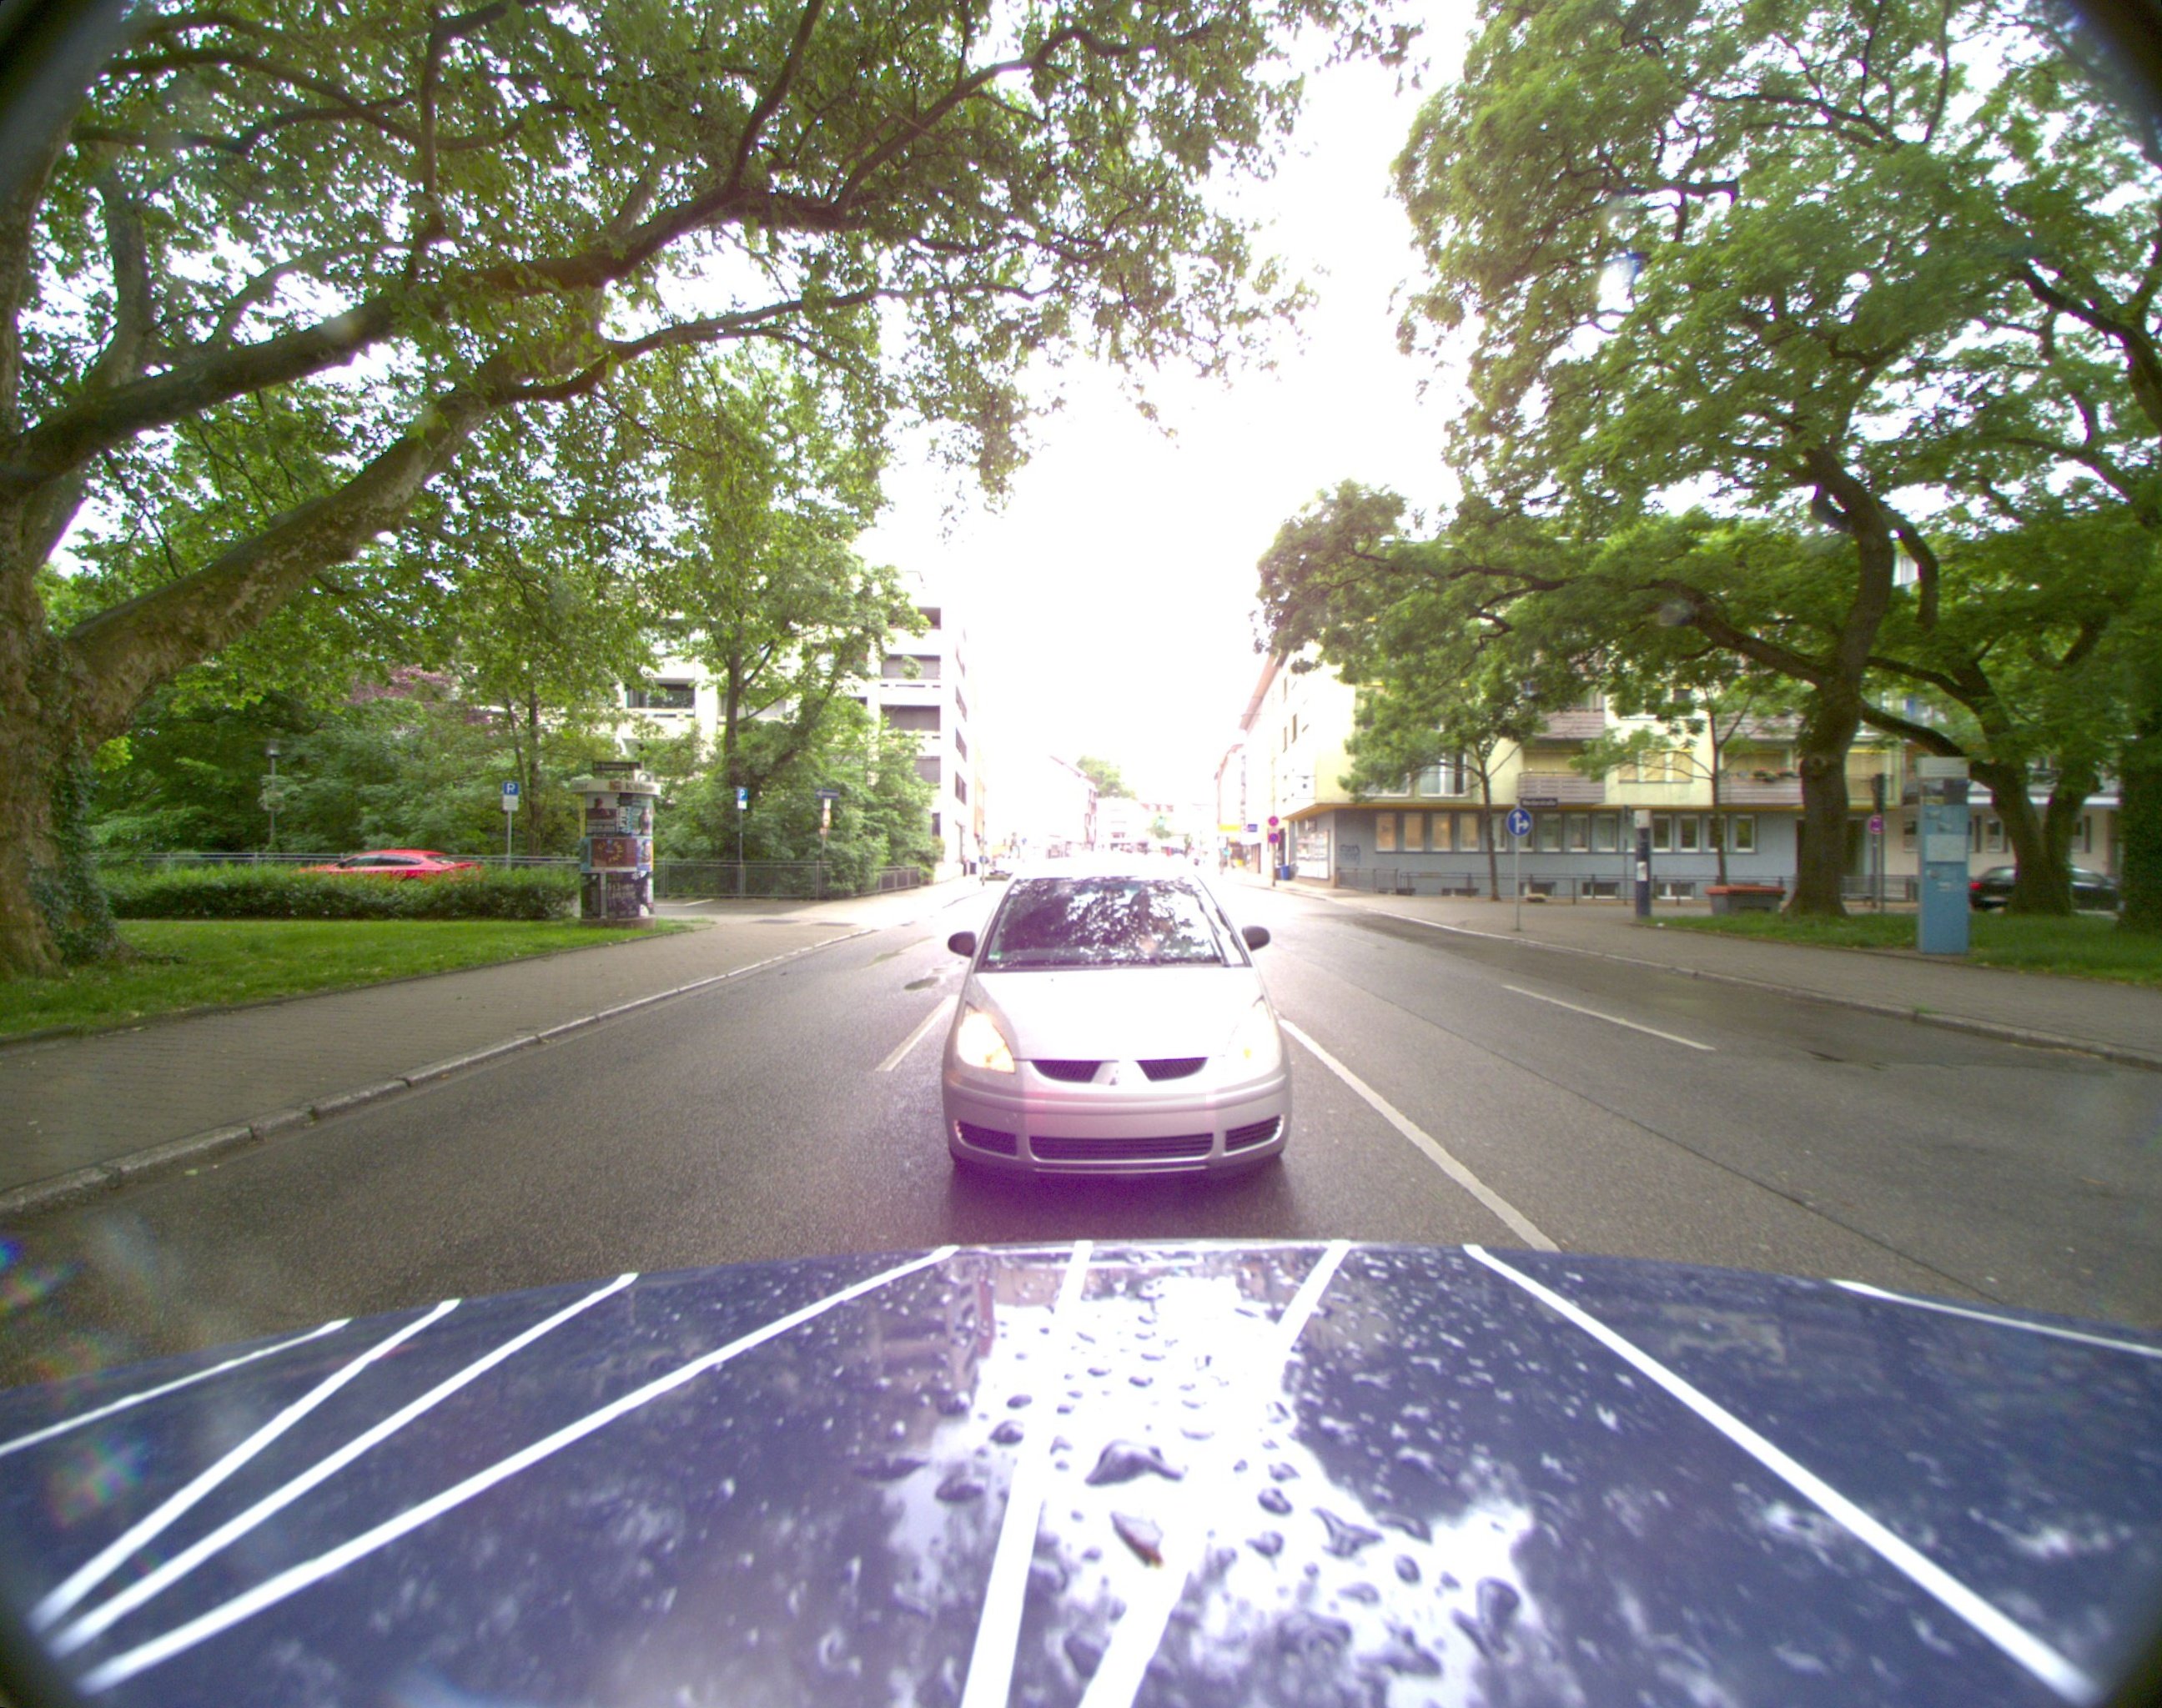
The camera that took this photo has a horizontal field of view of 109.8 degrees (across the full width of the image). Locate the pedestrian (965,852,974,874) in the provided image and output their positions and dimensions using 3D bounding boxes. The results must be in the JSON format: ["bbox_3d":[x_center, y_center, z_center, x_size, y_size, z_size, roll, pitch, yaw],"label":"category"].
[{"bbox_3d":[-8.043,0.648,54.672,0.480,1.521,0.481,-2,1,1],"label":"pedestrian"}]

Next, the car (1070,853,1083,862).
[{"bbox_3d":[-0.678,0.515,113.425,1.802,1.433,3.896,1,0,0],"label":"car"}]

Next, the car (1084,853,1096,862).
[{"bbox_3d":[1.402,0.545,118.341,1.802,1.433,3.897,1,0,1],"label":"car"}]

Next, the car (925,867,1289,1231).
[{"bbox_3d":[0.141,0.897,4.983,1.576,1.514,3.241,-1,0,1],"label":"car"}]

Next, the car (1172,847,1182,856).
[{"bbox_3d":[20.505,-0.589,162.625,1.998,1.841,4.001,1,0,4],"label":"car"}]

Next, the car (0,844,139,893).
[{"bbox_3d":[-29.089,0.384,21.256,3.468,1.271,1.448,1,1,-5],"label":"car"}]

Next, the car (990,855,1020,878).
[{"bbox_3d":[-5.314,0.859,53.513,1.681,1.424,3.681,3,0,1],"label":"car"}]

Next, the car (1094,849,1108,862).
[{"bbox_3d":[2.869,0.180,111.052,1.935,1.817,3.999,-2,1,0],"label":"car"}]

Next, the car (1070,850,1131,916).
[{"bbox_3d":[0.510,0.766,21.779,1.584,1.705,3.649,1,0,0],"label":"car"}]

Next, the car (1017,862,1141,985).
[{"bbox_3d":[0.054,0.921,11.805,1.590,1.540,3.771,1,0,2],"label":"car"}]

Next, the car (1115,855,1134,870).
[{"bbox_3d":[4.316,0.831,76.204,1.701,1.433,3.897,1,0,1],"label":"car"}]

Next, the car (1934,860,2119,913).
[{"bbox_3d":[28.844,0.965,23.261,3.564,1.480,1.572,1,1,2],"label":"car"}]

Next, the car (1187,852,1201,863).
[{"bbox_3d":[18.049,0.599,121.403,1.889,1.707,4.001,1,0,4],"label":"car"}]

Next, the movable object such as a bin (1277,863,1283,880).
[{"bbox_3d":[12.665,1.113,48.335,0.338,1.023,0.353,1,1,8],"label":"movable object such as a bin"}]

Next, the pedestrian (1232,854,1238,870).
[{"bbox_3d":[17.466,0.939,86.249,0.594,1.833,0.565,1,1,8],"label":"pedestrian"}]

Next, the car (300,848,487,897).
[{"bbox_3d":[-19.400,0.512,21.565,3.790,1.271,1.576,1,1,-3],"label":"car"}]

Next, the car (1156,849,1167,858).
[{"bbox_3d":[15.891,-0.100,150.491,1.998,1.631,4.001,1,0,4],"label":"car"}]

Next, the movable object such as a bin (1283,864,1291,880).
[{"bbox_3d":[13.079,1.145,48.259,0.415,1.023,0.353,1,1,8],"label":"movable object such as a bin"}]

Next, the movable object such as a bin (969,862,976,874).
[{"bbox_3d":[-8.994,1.165,62.939,0.556,1.035,0.292,1,1,0],"label":"movable object such as a bin"}]
